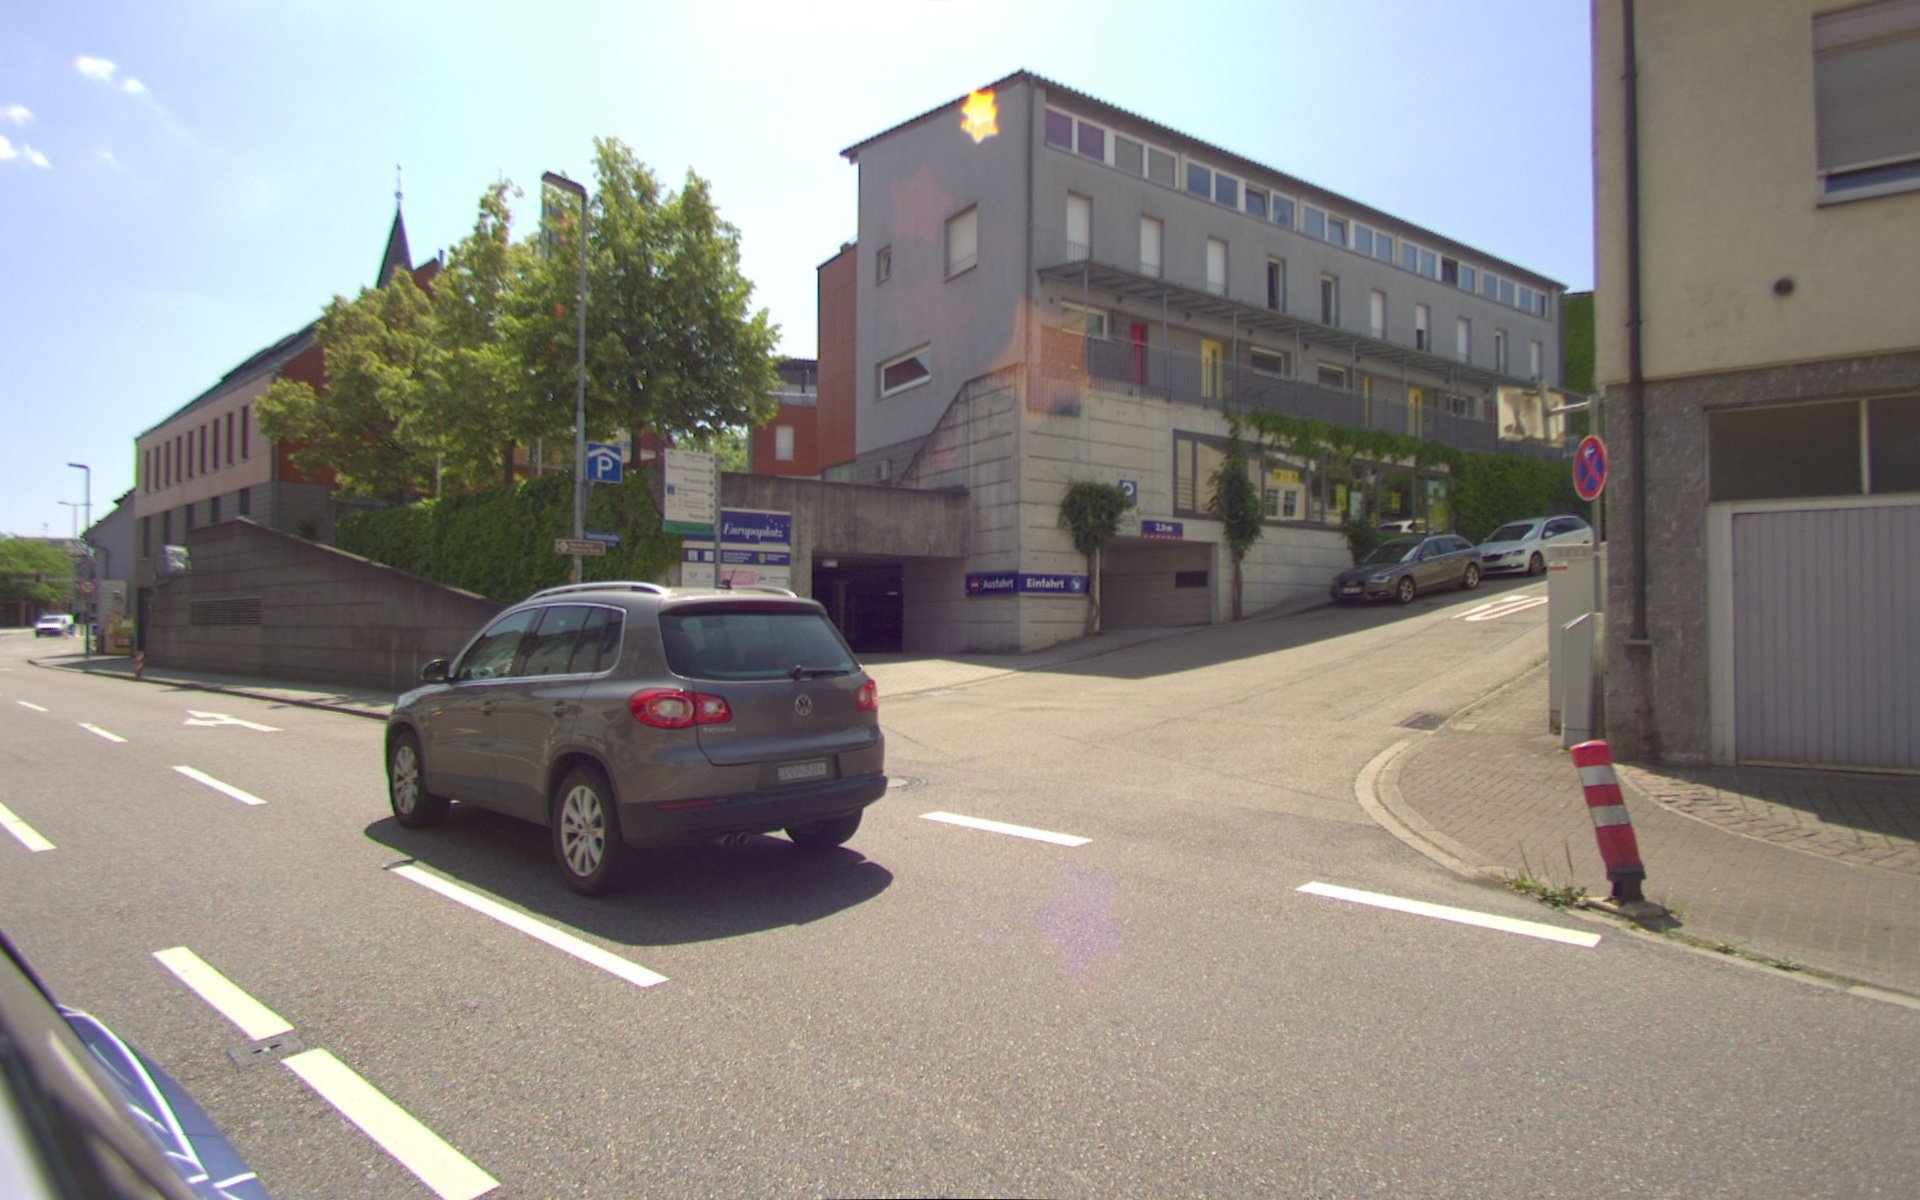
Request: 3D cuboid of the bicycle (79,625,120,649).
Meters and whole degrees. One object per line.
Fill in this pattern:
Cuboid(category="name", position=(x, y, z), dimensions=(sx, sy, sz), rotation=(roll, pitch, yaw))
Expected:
Cuboid(category="bicycle", position=(-48.688, 2.074, 57.266), dimensions=(0.571, 1.258, 1.828), rotation=(-4, 0, 5))

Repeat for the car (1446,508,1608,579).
Cuboid(category="car", position=(15.713, -1.575, 27.996), dimensions=(4.432, 1.431, 2.005), rotation=(-8, 3, -33))

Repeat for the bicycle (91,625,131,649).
Cuboid(category="bicycle", position=(-48.044, 2.062, 57.274), dimensions=(0.571, 1.258, 1.828), rotation=(-4, 0, 5))

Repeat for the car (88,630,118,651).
Cuboid(category="car", position=(-72.570, 3.408, 85.764), dimensions=(1.648, 1.670, 4.026), rotation=(1, -2, -37))

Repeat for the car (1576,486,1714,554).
Cuboid(category="car", position=(21.232, -2.486, 31.324), dimensions=(4.432, 1.571, 1.895), rotation=(-8, 3, -33))

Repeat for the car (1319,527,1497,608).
Cuboid(category="car", position=(10.987, -0.819, 24.738), dimensions=(4.432, 1.431, 1.763), rotation=(-8, 3, -33))

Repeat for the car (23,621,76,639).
Cuboid(category="car", position=(-85.548, 2.815, 95.149), dimensions=(1.978, 1.643, 4.591), rotation=(0, -1, -17))

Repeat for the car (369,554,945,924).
Cuboid(category="car", position=(-2.156, 0.680, 6.539), dimensions=(4.048, 1.648, 1.739), rotation=(-2, -2, 42))

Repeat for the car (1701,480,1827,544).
Cuboid(category="car", position=(23.881, -2.628, 30.040), dimensions=(3.936, 1.477, 1.818), rotation=(-9, 5, -34))
